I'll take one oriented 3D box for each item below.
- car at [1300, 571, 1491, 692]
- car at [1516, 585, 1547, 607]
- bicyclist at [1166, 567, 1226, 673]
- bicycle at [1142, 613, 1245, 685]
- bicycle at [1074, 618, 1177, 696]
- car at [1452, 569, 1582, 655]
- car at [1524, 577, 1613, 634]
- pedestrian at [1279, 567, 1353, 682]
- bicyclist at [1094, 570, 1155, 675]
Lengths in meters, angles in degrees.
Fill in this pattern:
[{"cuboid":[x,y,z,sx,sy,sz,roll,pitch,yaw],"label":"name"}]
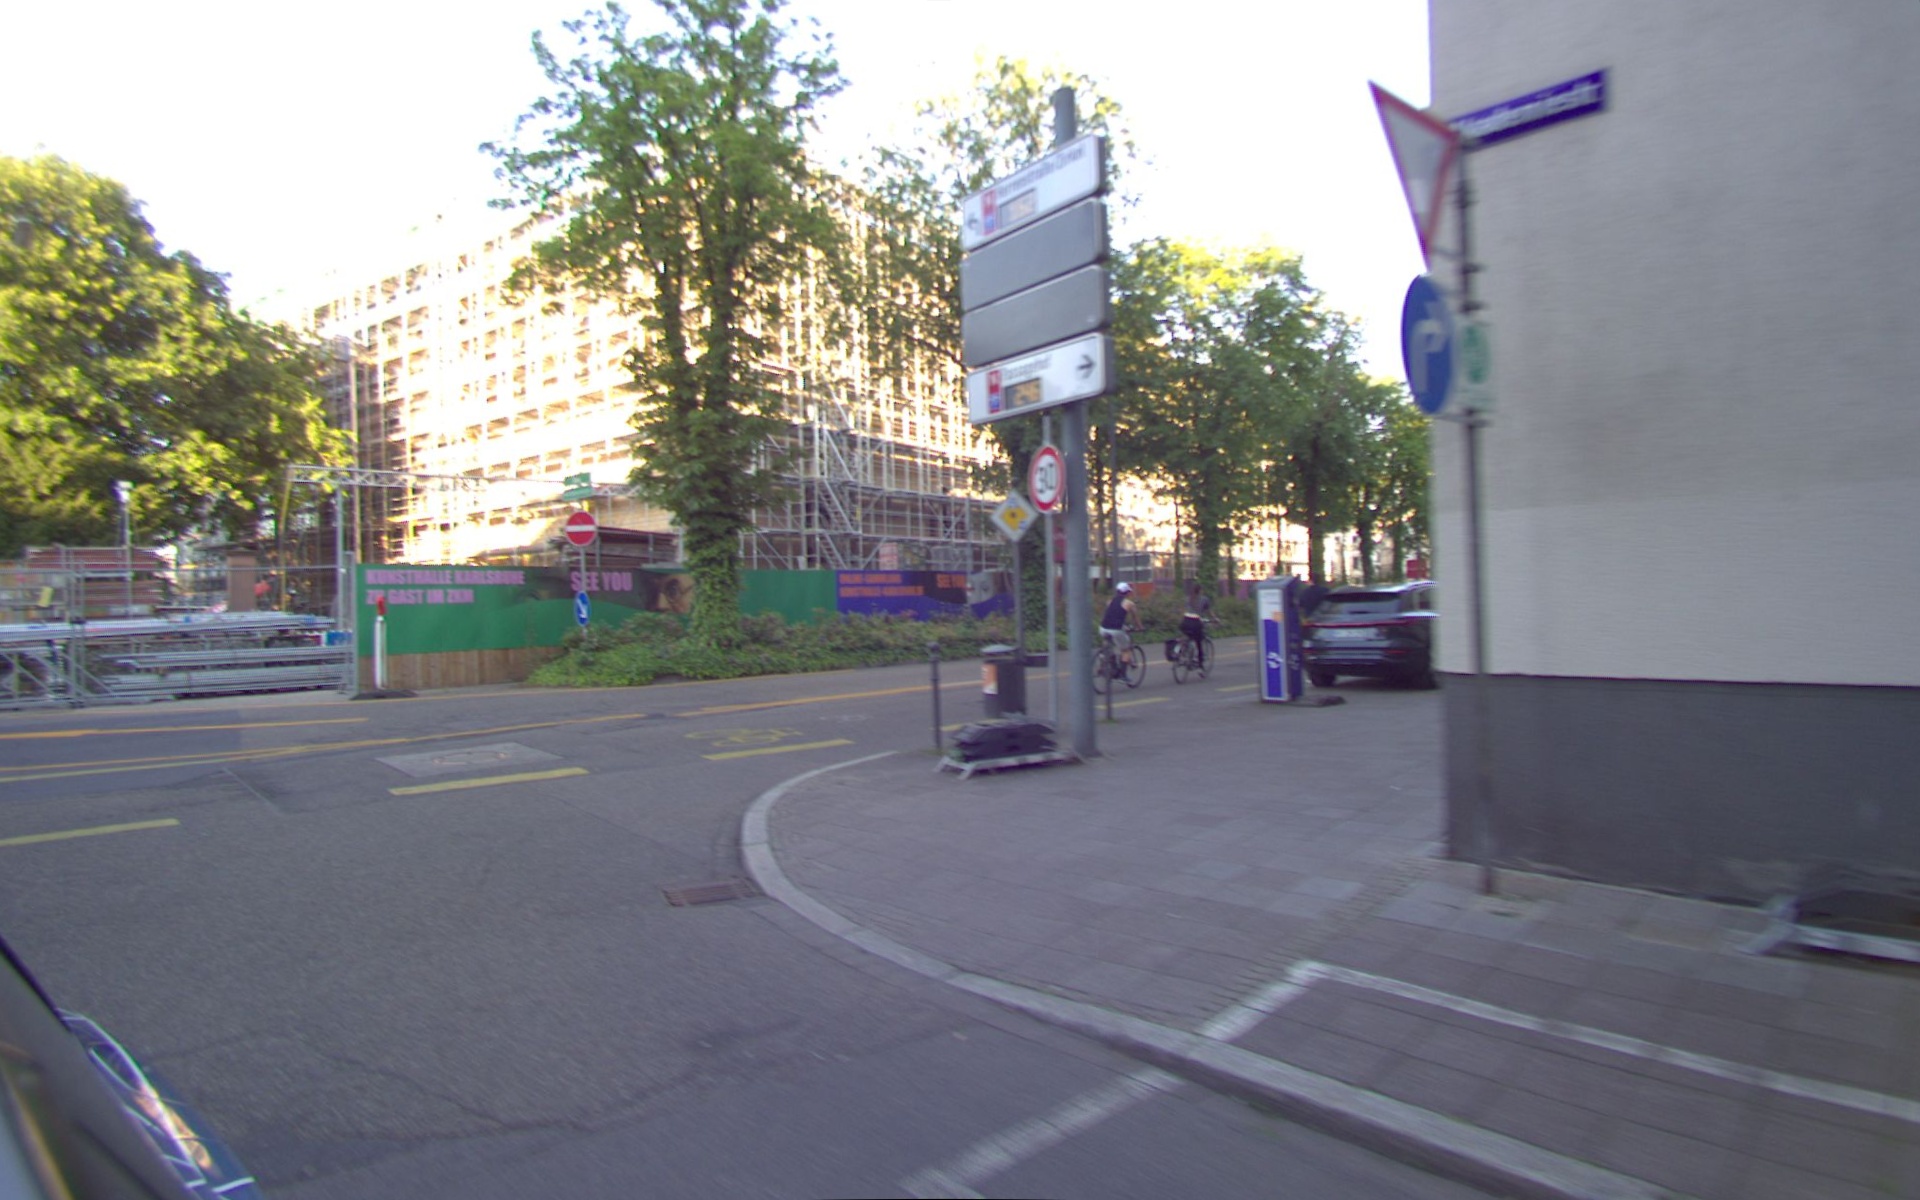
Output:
[{"cuboid":[7.076,0.417,16.237,1.816,1.695,3.868,-2,0,39],"label":"car"},{"cuboid":[42.313,-0.315,74.980,1.809,1.572,3.829,-2,0,27],"label":"car"},{"cuboid":[4.070,0.323,17.431,0.852,1.773,0.652,-2,2,-45],"label":"bicyclist"},{"cuboid":[4.045,0.813,17.417,0.655,1.079,2.225,1,2,45],"label":"bicycle"},{"cuboid":[2.613,0.850,15.815,0.672,1.079,1.875,0,1,42],"label":"bicycle"},{"cuboid":[12.235,0.225,22.125,1.816,1.696,3.948,-2,0,39],"label":"car"},{"cuboid":[18.054,0.133,29.941,1.815,1.572,3.816,-2,0,38],"label":"car"},{"cuboid":[6.050,0.401,17.244,0.891,1.880,0.931,-2,0,2],"label":"pedestrian"},{"cuboid":[2.558,0.325,15.732,0.671,1.577,0.689,1,2,43],"label":"bicyclist"}]
